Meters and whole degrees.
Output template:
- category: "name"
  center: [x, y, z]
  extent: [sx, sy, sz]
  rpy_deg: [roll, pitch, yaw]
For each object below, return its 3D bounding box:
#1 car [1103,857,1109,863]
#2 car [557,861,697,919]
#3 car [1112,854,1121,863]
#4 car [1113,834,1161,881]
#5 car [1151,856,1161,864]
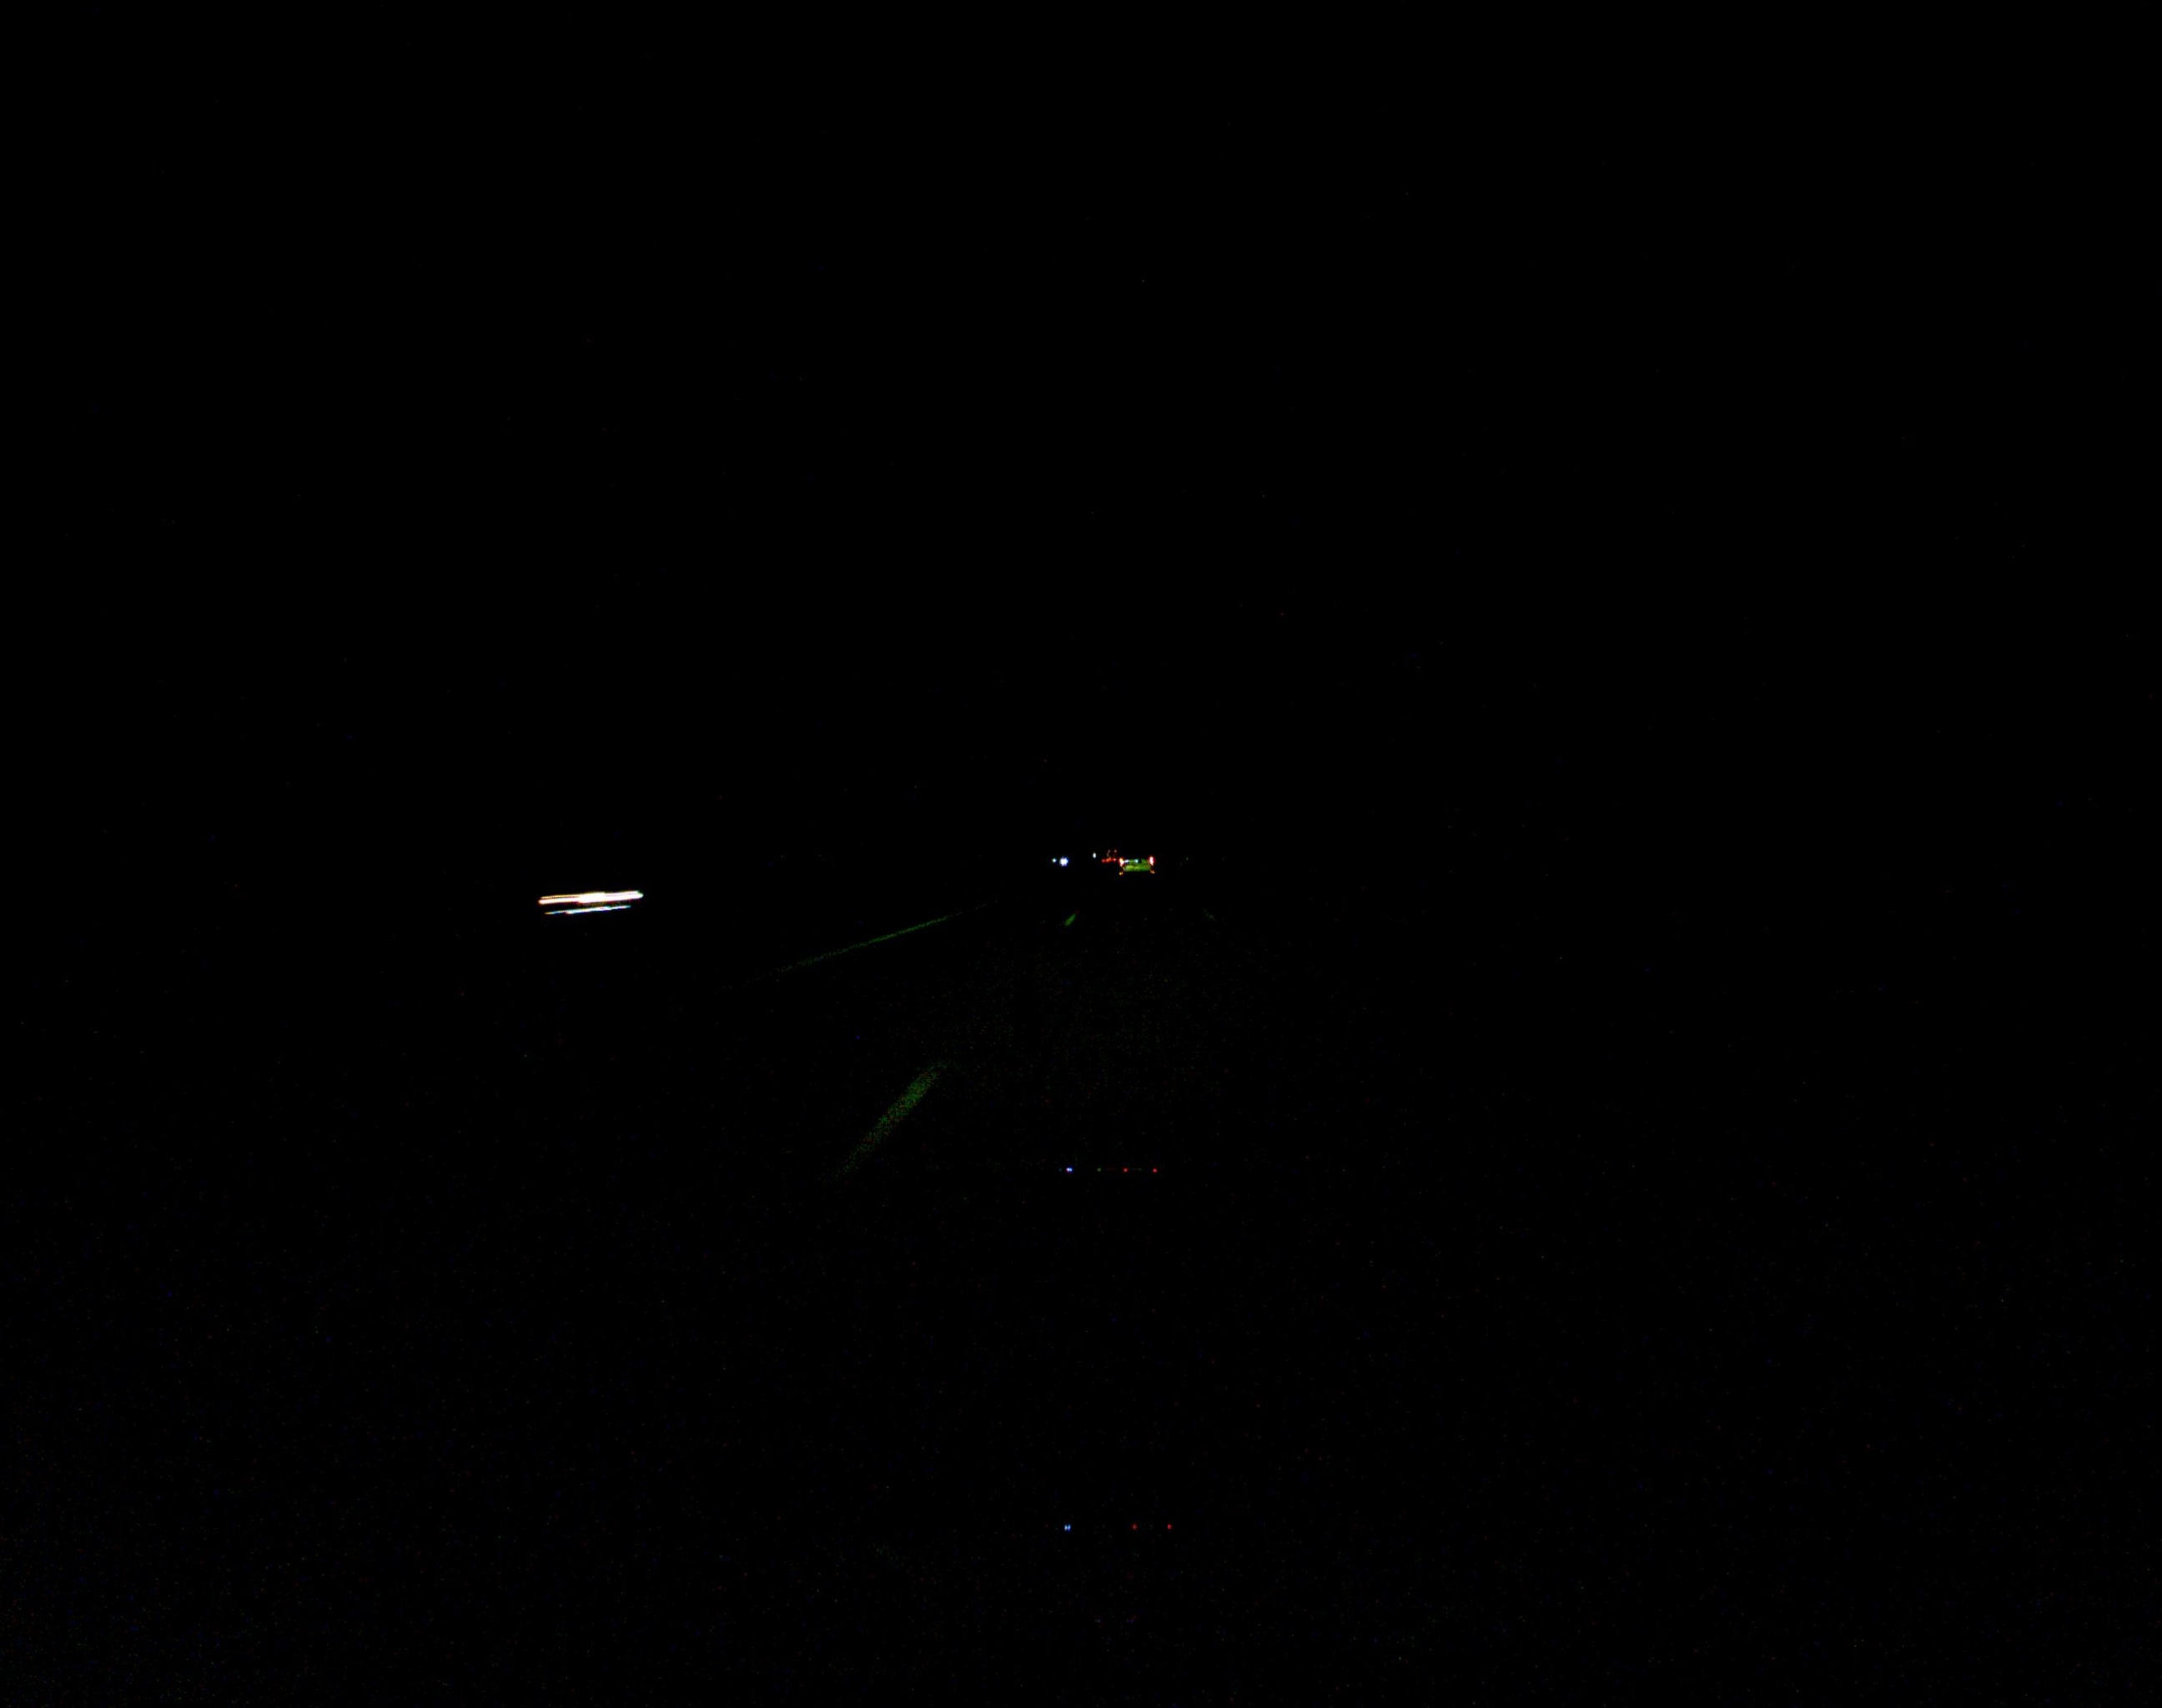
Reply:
- category: "car"
  center: [7.886, 1.804, 253.252]
  extent: [1.836, 1.640, 4.002]
  rpy_deg: [-1, 0, 2]
- category: "car"
  center: [-17.104, 1.276, 31.094]
  extent: [2.020, 1.968, 5.401]
  rpy_deg: [-1, 0, 3]
- category: "car"
  center: [11.355, 1.387, 259.730]
  extent: [2.776, 2.605, 6.302]
  rpy_deg: [-1, 0, 2]
- category: "car"
  center: [3.436, 0.231, 51.322]
  extent: [2.776, 2.733, 6.302]
  rpy_deg: [-1, 0, 2]
- category: "car"
  center: [14.831, 1.146, 161.576]
  extent: [1.836, 1.640, 4.002]
  rpy_deg: [-1, 0, 2]
